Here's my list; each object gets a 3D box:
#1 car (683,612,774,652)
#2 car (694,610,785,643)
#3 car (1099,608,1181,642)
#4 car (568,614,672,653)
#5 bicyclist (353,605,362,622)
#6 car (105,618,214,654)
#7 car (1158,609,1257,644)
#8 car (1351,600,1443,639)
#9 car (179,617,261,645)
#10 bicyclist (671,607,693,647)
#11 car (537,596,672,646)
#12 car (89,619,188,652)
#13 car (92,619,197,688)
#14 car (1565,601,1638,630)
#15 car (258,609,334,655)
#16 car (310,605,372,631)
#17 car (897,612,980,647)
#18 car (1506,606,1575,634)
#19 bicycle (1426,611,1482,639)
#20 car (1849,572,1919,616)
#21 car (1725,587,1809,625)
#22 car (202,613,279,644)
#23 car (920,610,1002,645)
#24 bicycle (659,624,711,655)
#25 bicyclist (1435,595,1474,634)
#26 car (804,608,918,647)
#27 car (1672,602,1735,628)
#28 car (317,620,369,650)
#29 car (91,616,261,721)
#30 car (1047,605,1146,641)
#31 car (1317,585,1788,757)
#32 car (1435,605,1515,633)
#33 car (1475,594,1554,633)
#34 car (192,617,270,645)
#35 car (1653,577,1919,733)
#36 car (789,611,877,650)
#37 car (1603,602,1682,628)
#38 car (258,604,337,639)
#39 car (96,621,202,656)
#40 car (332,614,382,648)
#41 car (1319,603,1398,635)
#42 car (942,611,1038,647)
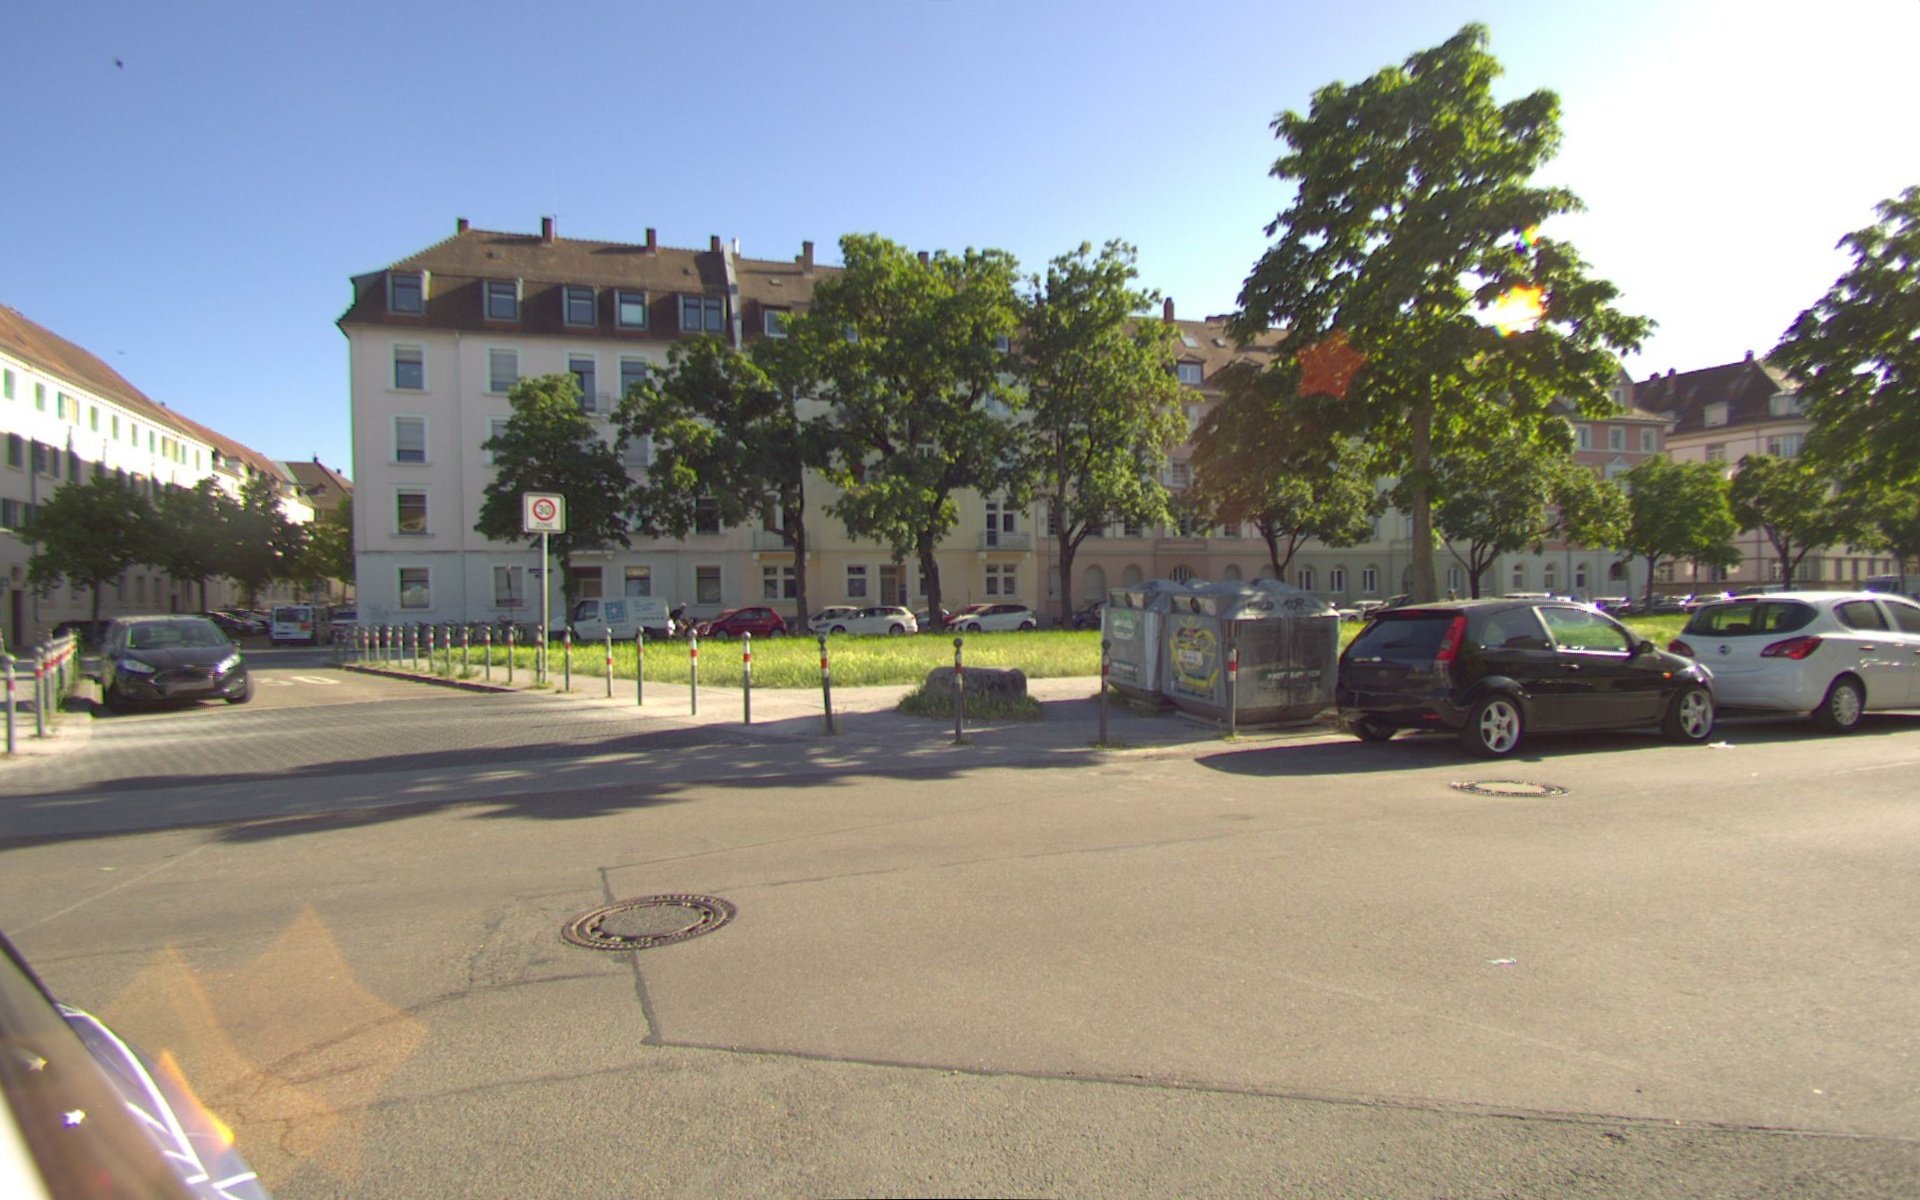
[{"bbox_3d":[-10.980,1.486,47.926,3.985,1.765,2.006,-1,0,-17],"label":"car"},{"bbox_3d":[-9.232,1.082,42.280,3.465,1.289,1.705,-1,0,-21],"label":"car"},{"bbox_3d":[9.684,1.352,54.553,3.932,1.714,1.857,-1,0,-16],"label":"car"},{"bbox_3d":[-15.535,1.489,46.178,4.375,1.598,2.007,-1,0,-22],"label":"car"},{"bbox_3d":[-47.317,1.050,79.488,0.524,1.374,0.788,-1,0,-22],"label":"bicyclist"},{"bbox_3d":[-42.136,1.879,53.343,4.169,1.714,1.712,-1,-1,-21],"label":"car"},{"bbox_3d":[12.090,1.263,49.495,4.450,1.561,1.768,-1,0,-21],"label":"car"},{"bbox_3d":[22.907,1.026,53.087,4.384,1.922,1.747,-1,-1,-21],"label":"car"},{"bbox_3d":[-43.669,1.820,59.811,3.553,1.532,1.866,-1,0,-22],"label":"car"},{"bbox_3d":[-11.963,1.147,43.580,0.864,1.703,0.634,-1,-1,-19],"label":"bicyclist"},{"bbox_3d":[-14.367,0.820,40.963,5.010,1.886,2.095,-1,0,-21],"label":"car"},{"bbox_3d":[-41.480,1.793,51.193,3.553,1.532,1.714,-1,0,-22],"label":"car"},{"bbox_3d":[-21.334,1.346,26.421,1.899,1.588,4.353,-1,-1,-42],"label":"car"},{"bbox_3d":[41.318,0.991,65.215,3.931,1.762,1.872,-1,0,-19],"label":"car"},{"bbox_3d":[-31.508,1.460,48.137,2.103,2.029,4.592,-1,0,-21],"label":"car"},{"bbox_3d":[-59.666,1.696,97.619,4.870,2.413,1.963,-1,-1,-22],"label":"car"},{"bbox_3d":[-1.097,1.474,51.085,3.794,1.627,1.897,-1,0,-19],"label":"car"},{"bbox_3d":[32.213,1.095,56.175,3.284,1.451,1.389,-1,-1,-17],"label":"car"},{"bbox_3d":[23.849,1.188,48.888,2.589,1.261,0.815,-1,-1,-20],"label":"bicycle"},{"bbox_3d":[60.838,-0.387,65.943,5.527,2.764,1.928,-1,-1,-21],"label":"car"},{"bbox_3d":[49.311,0.362,61.841,4.922,2.230,1.705,-1,-1,-21],"label":"car"},{"bbox_3d":[-45.775,1.805,64.501,3.648,1.848,1.963,-1,-1,-22],"label":"car"},{"bbox_3d":[0.034,1.303,48.760,3.530,1.614,1.787,-1,0,-19],"label":"car"},{"bbox_3d":[-11.846,1.686,43.606,2.117,1.268,0.717,-1,-1,-19],"label":"bicycle"},{"bbox_3d":[23.896,0.688,48.929,1.424,1.851,0.947,0,-2,-19],"label":"bicyclist"},{"bbox_3d":[-4.288,1.170,43.948,4.616,1.573,1.705,-1,0,-21],"label":"car"},{"bbox_3d":[43.994,0.888,59.890,3.176,1.451,1.527,-1,-1,-21],"label":"car"},{"bbox_3d":[-35.399,1.963,58.129,1.904,1.581,3.895,-1,0,-22],"label":"car"},{"bbox_3d":[-13.197,1.045,16.923,1.891,1.420,4.353,-3,1,-42],"label":"car"},{"bbox_3d":[6.400,1.046,47.347,4.279,1.561,1.642,-1,-1,-21],"label":"car"},{"bbox_3d":[5.704,0.632,9.873,3.849,1.436,1.759,0,-3,-17],"label":"car"},{"bbox_3d":[27.840,1.025,54.721,3.710,1.440,1.705,-1,0,-17],"label":"car"},{"bbox_3d":[34.489,0.817,62.937,4.387,2.276,1.787,-1,-1,-20],"label":"car"},{"bbox_3d":[-44.792,1.883,62.300,3.553,1.653,1.838,-1,0,-22],"label":"car"},{"bbox_3d":[9.964,0.558,11.141,3.808,1.506,1.788,0,-3,-17],"label":"car"},{"bbox_3d":[-6.229,1.459,49.452,3.931,1.770,1.875,-1,0,-19],"label":"car"},{"bbox_3d":[39.670,0.867,58.831,3.709,1.451,1.858,-1,0,-18],"label":"car"},{"bbox_3d":[-51.735,1.660,79.126,4.870,2.538,1.963,-1,-1,-22],"label":"car"},{"bbox_3d":[-39.157,1.832,48.950,3.604,1.533,1.718,-1,0,-19],"label":"car"},{"bbox_3d":[-37.318,1.882,62.756,1.965,1.988,5.070,-1,0,-23],"label":"car"},{"bbox_3d":[23.336,1.124,59.337,3.957,1.765,1.954,-1,0,-19],"label":"car"},{"bbox_3d":[1.358,1.289,45.871,4.010,1.538,1.705,-1,0,-21],"label":"car"}]
